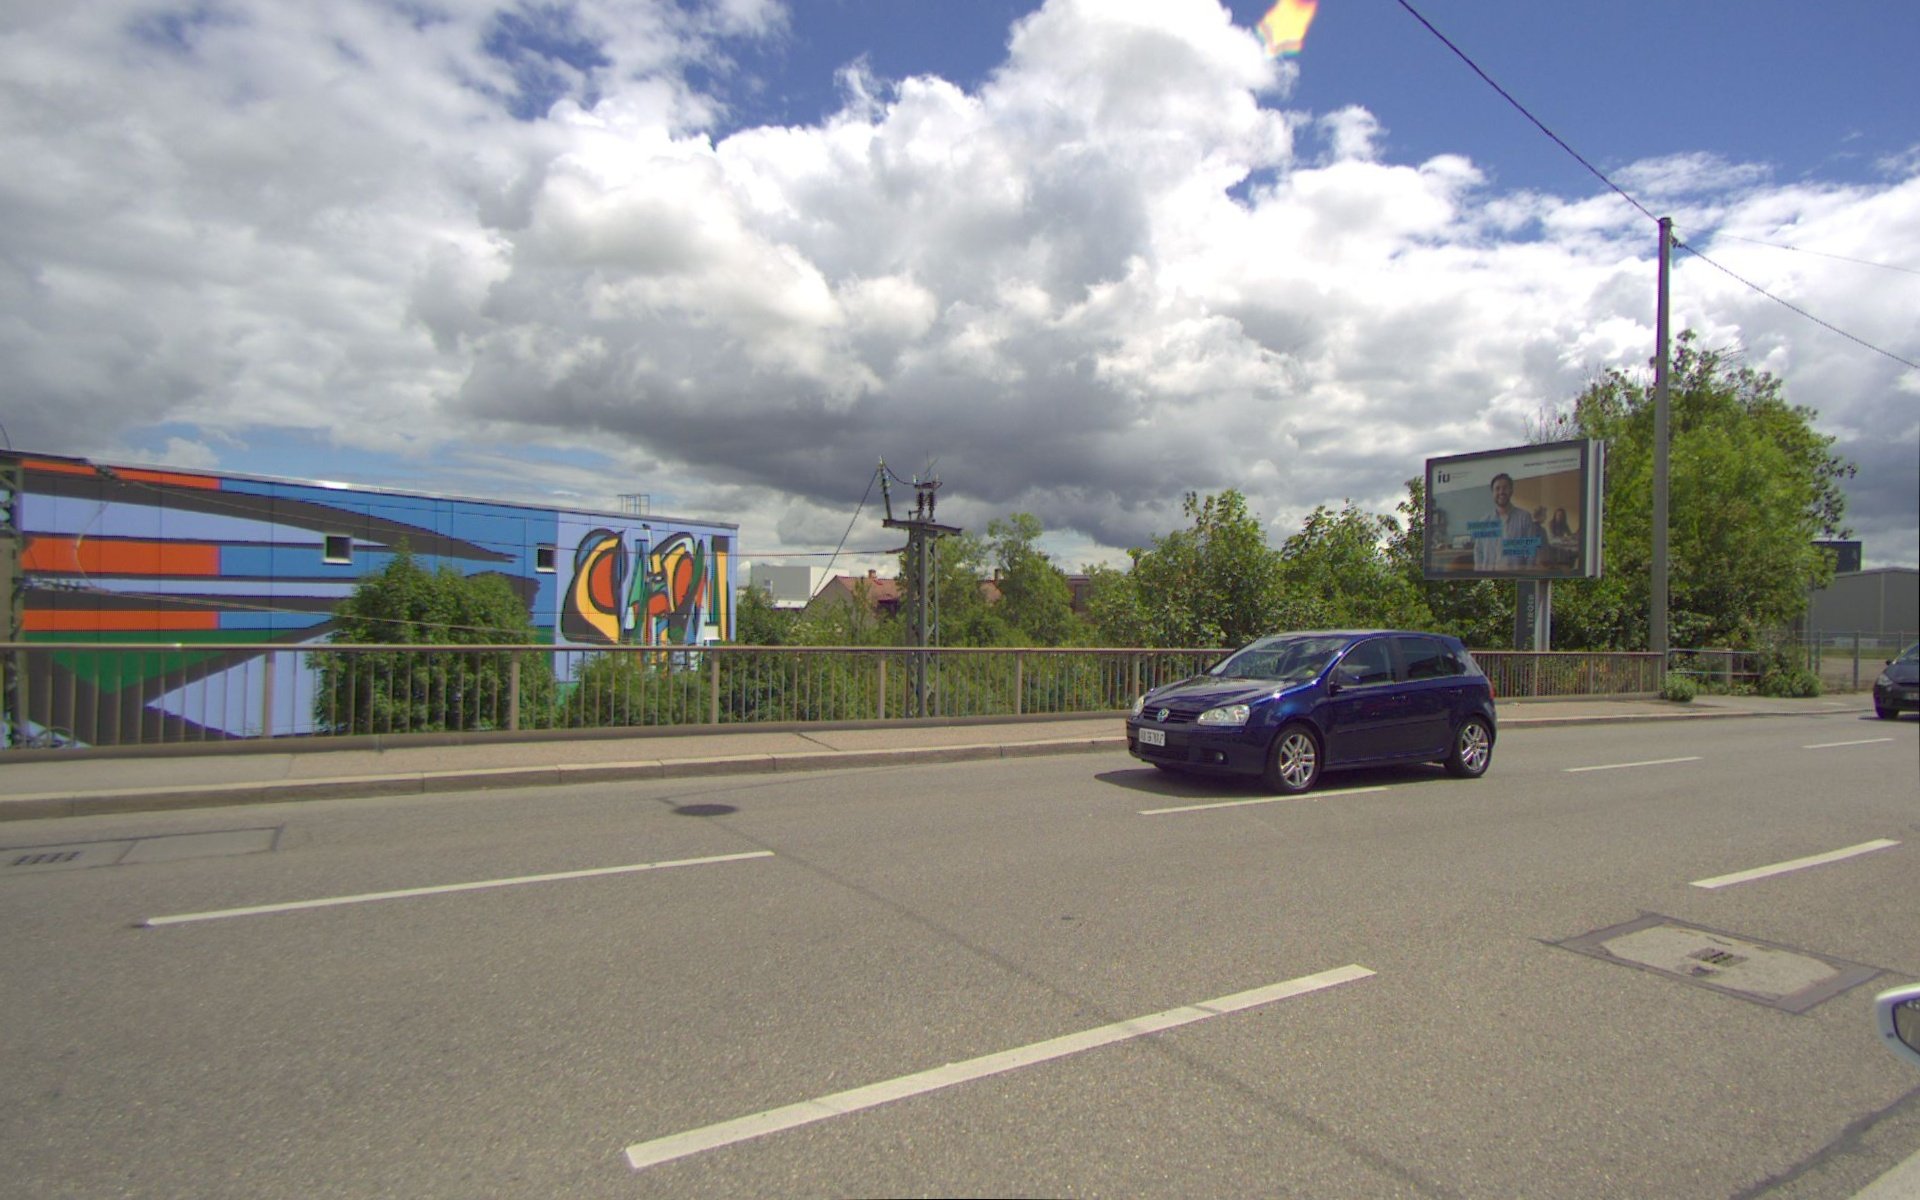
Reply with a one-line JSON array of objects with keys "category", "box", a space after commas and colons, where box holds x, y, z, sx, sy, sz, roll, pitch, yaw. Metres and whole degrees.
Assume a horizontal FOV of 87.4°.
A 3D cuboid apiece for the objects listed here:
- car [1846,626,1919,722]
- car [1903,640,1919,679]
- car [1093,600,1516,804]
[{"category": "car", "box": [19.491, 1.431, 19.637, 4.571, 1.725, 1.902, 2, 0, -30]}, {"category": "car", "box": [36.960, 2.236, 36.409, 1.886, 1.437, 3.821, 2, -1, -39]}, {"category": "car", "box": [3.474, 0.884, 9.994, 3.953, 1.639, 1.847, 2, 0, -30]}]
